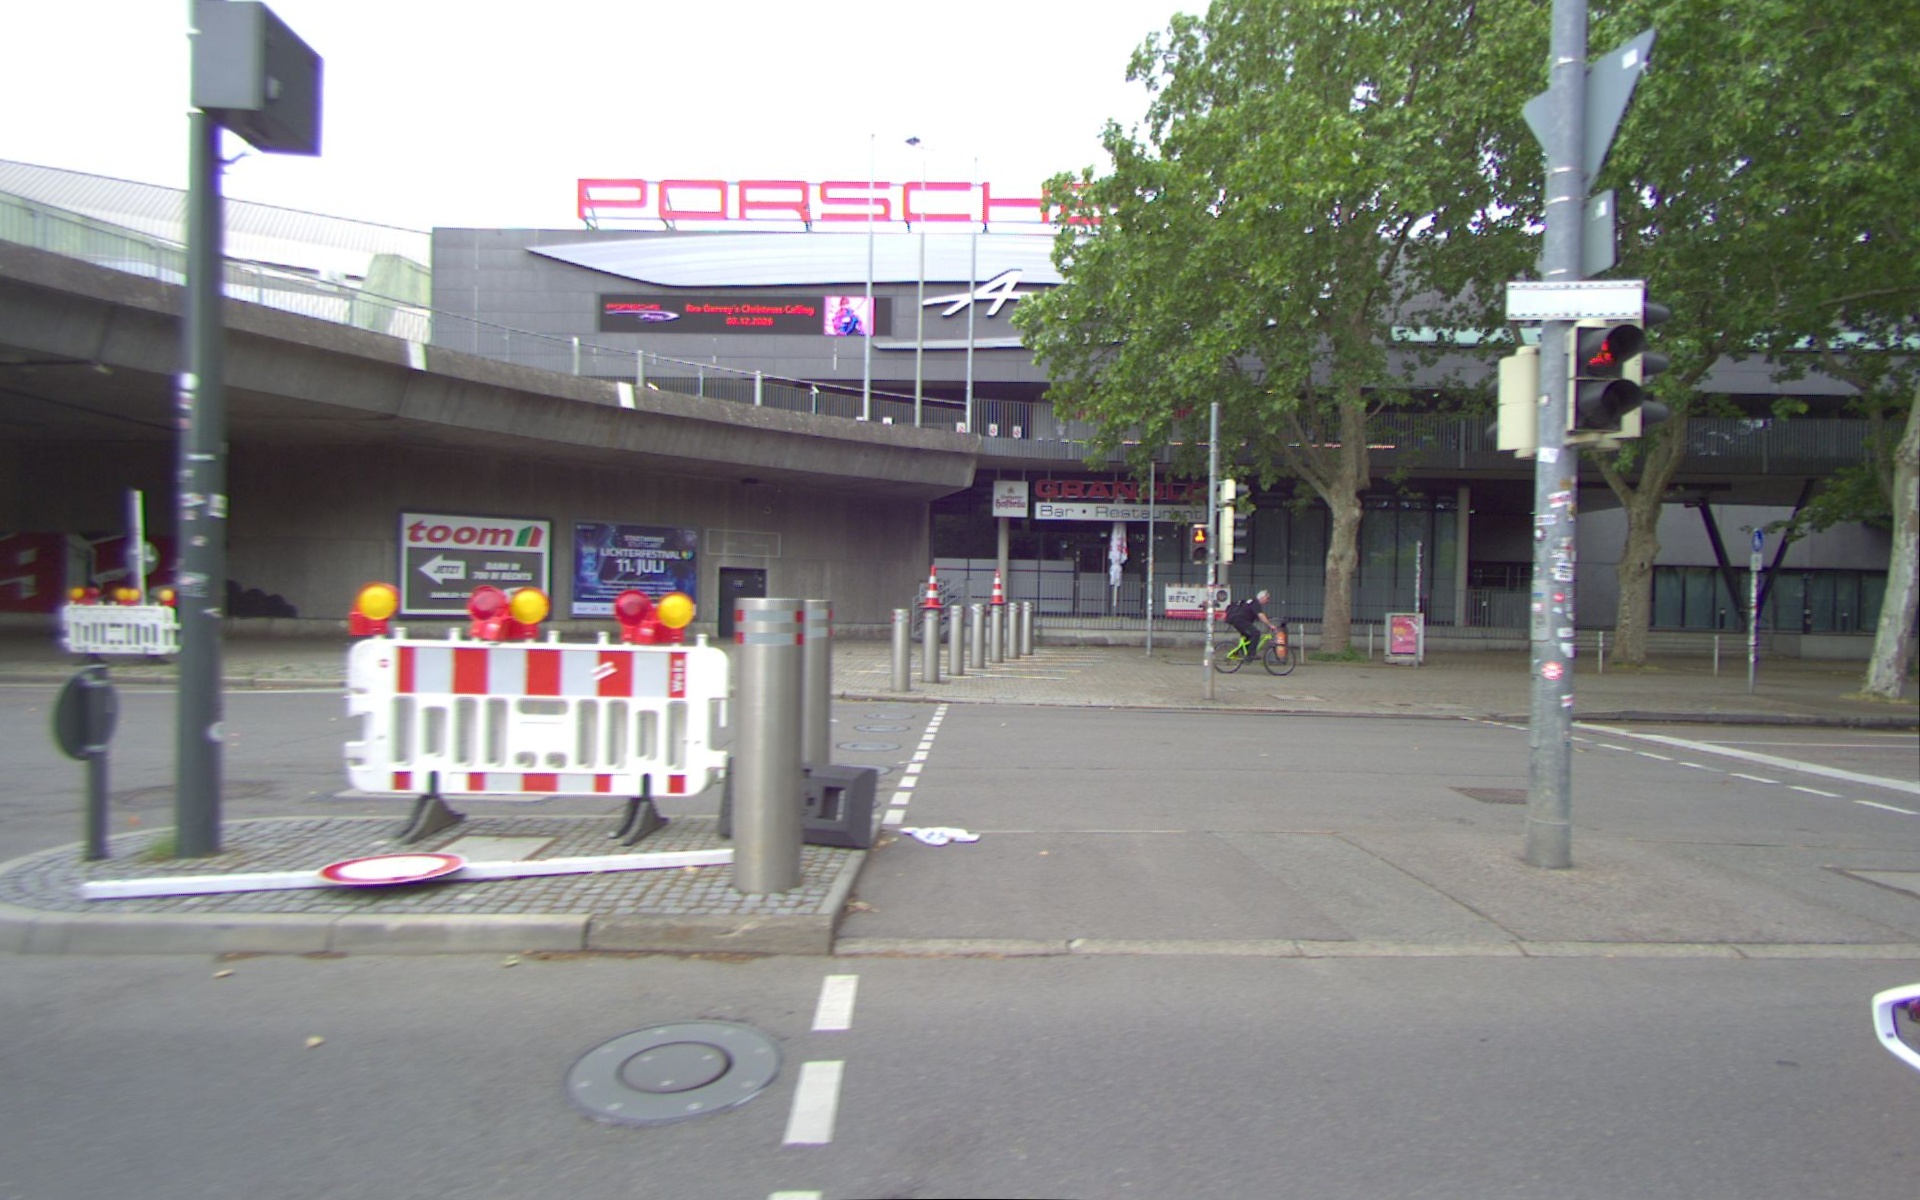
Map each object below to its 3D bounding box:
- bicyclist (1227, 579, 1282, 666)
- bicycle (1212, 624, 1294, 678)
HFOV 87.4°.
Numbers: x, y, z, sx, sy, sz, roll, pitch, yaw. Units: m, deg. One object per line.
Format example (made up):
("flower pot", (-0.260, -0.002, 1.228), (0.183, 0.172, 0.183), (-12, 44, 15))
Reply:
("bicyclist", (6.104, 0.463, 20.863), (0.837, 1.720, 0.767), (3, -1, 0))
("bicycle", (6.078, 1.047, 20.849), (1.507, 1.026, 0.517), (3, -1, 0))
